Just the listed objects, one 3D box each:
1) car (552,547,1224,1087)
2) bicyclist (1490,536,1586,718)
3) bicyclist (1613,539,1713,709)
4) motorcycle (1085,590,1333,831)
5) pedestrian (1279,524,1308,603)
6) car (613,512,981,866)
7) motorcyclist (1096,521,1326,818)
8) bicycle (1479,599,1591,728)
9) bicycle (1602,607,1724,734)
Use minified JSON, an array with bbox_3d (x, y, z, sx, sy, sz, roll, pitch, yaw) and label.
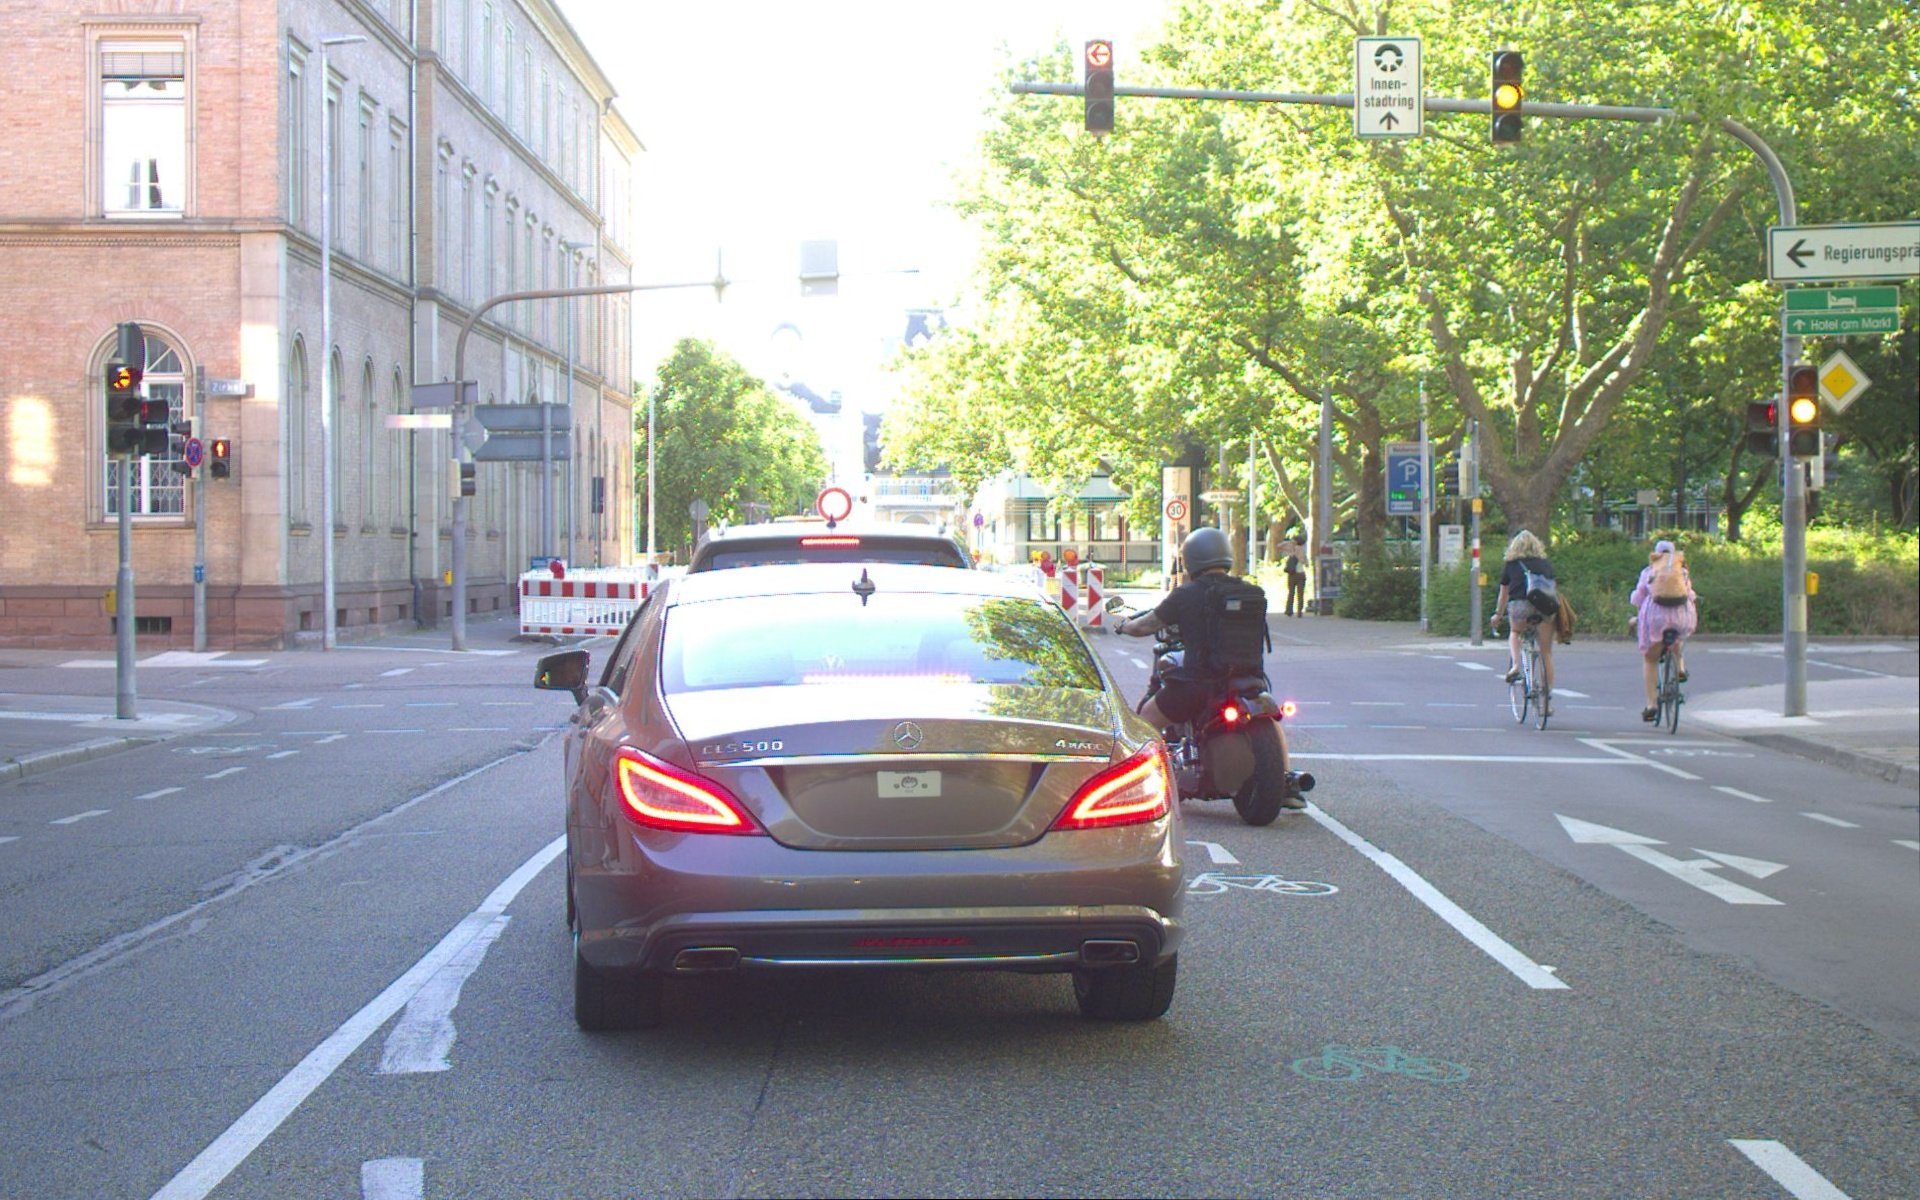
[{"bbox_3d":[-0.445,0.560,11.648,1.821,1.471,4.354,0,1,-7],"label":"car"},{"bbox_3d":[4.903,0.218,29.205,0.610,1.511,0.890,2,1,-1],"label":"bicyclist"},{"bbox_3d":[5.942,0.188,29.081,0.600,1.397,0.931,2,1,-1],"label":"bicyclist"},{"bbox_3d":[1.339,0.569,19.113,1.007,1.200,2.665,0,1,-4],"label":"motorcycle"},{"bbox_3d":[7.082,-0.771,72.950,0.559,1.672,0.565,0,1,-1],"label":"pedestrian"},{"bbox_3d":[-0.808,0.377,17.656,1.681,1.619,3.841,0,1,-2],"label":"car"},{"bbox_3d":[1.383,0.364,19.196,1.113,1.607,1.202,0,1,-4],"label":"motorcyclist"},{"bbox_3d":[4.893,0.524,29.338,0.610,1.023,1.731,2,1,-1],"label":"bicycle"},{"bbox_3d":[5.931,0.582,29.087,0.600,0.981,1.881,2,1,-1],"label":"bicycle"}]
